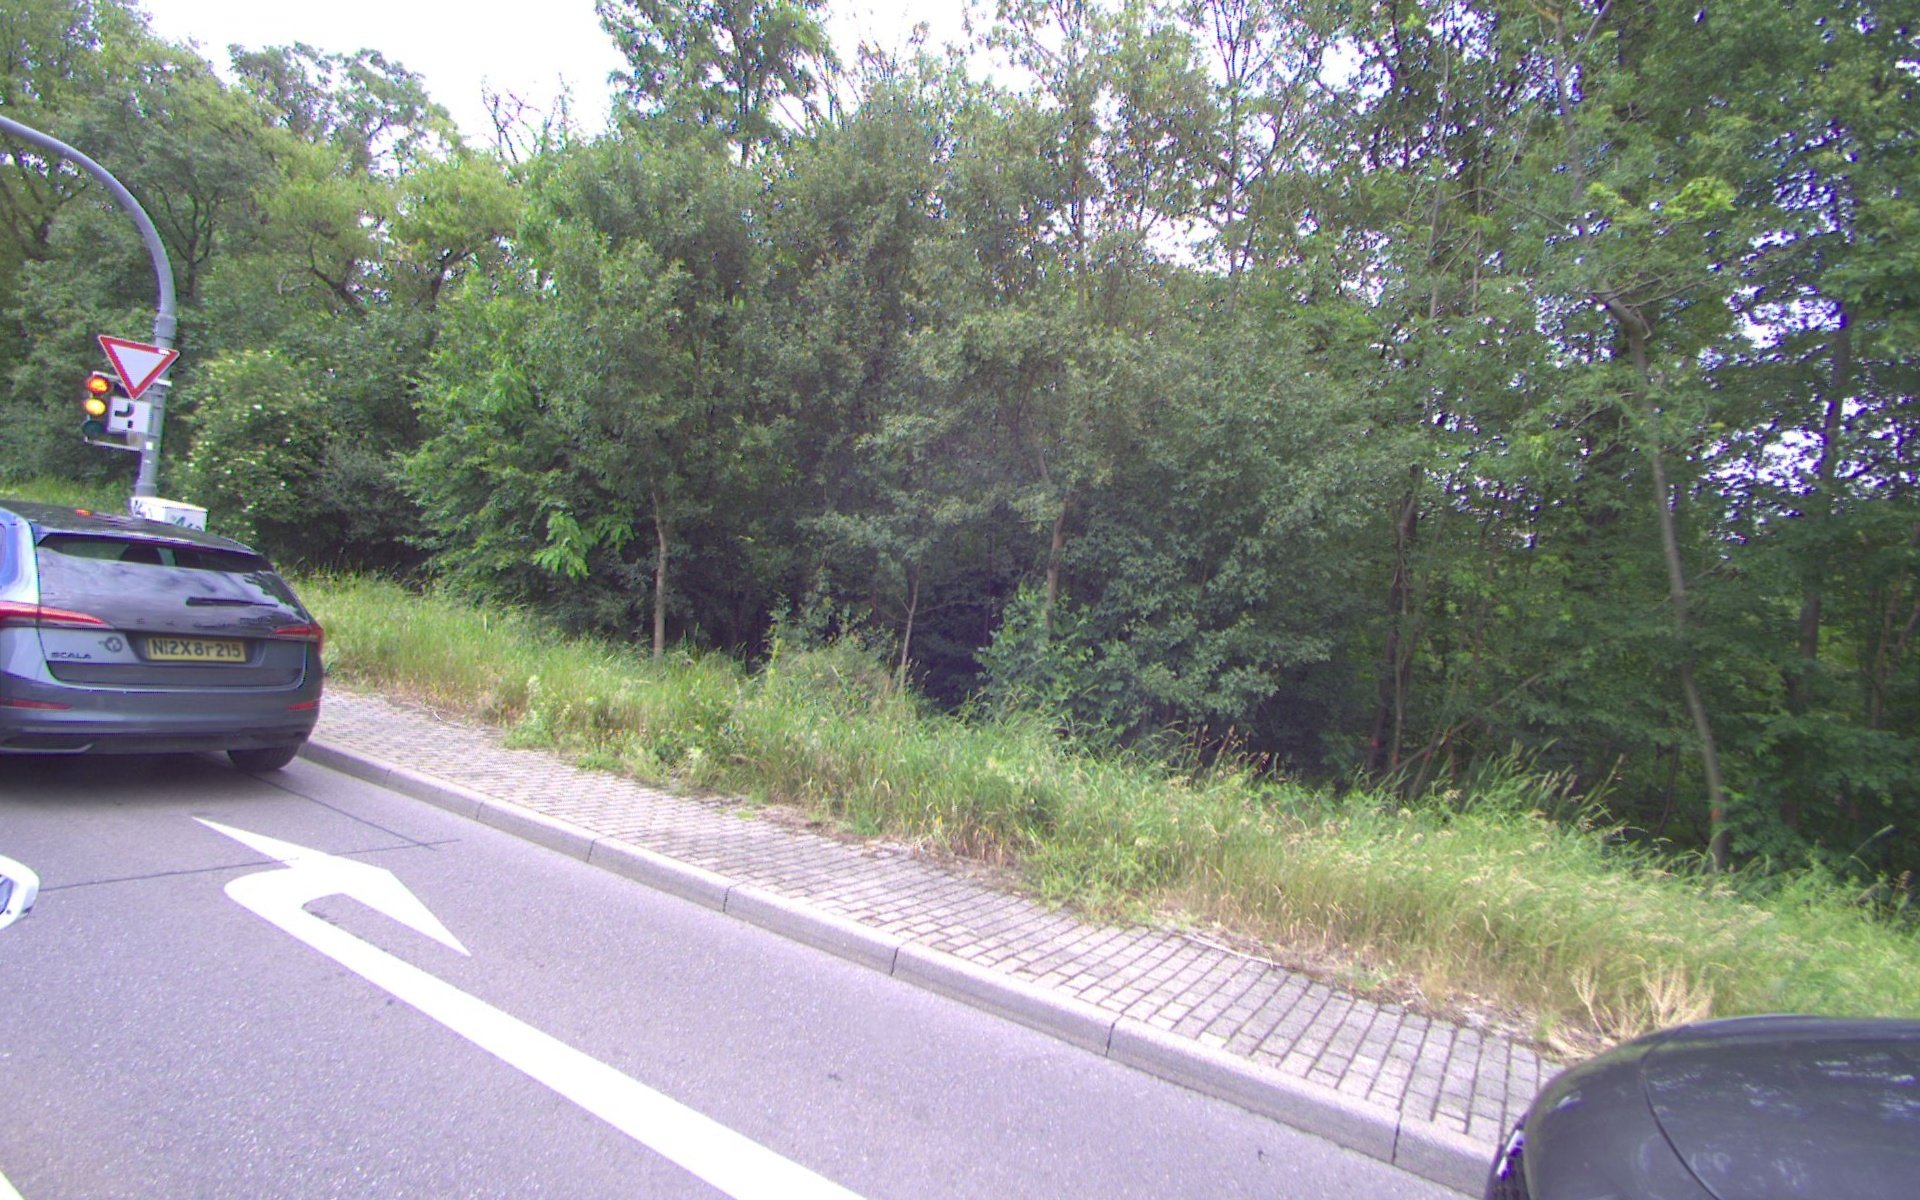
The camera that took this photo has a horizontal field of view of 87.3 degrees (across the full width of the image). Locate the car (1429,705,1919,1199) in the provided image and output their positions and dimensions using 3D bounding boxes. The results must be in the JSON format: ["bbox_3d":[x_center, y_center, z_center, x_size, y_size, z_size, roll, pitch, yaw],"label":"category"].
[{"bbox_3d":[2.611,1.138,0.969,3.792,1.474,1.728,7,-1,33],"label":"car"}]

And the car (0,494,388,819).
[{"bbox_3d":[-5.629,0.129,6.248,3.933,1.468,1.796,7,-1,31],"label":"car"}]
